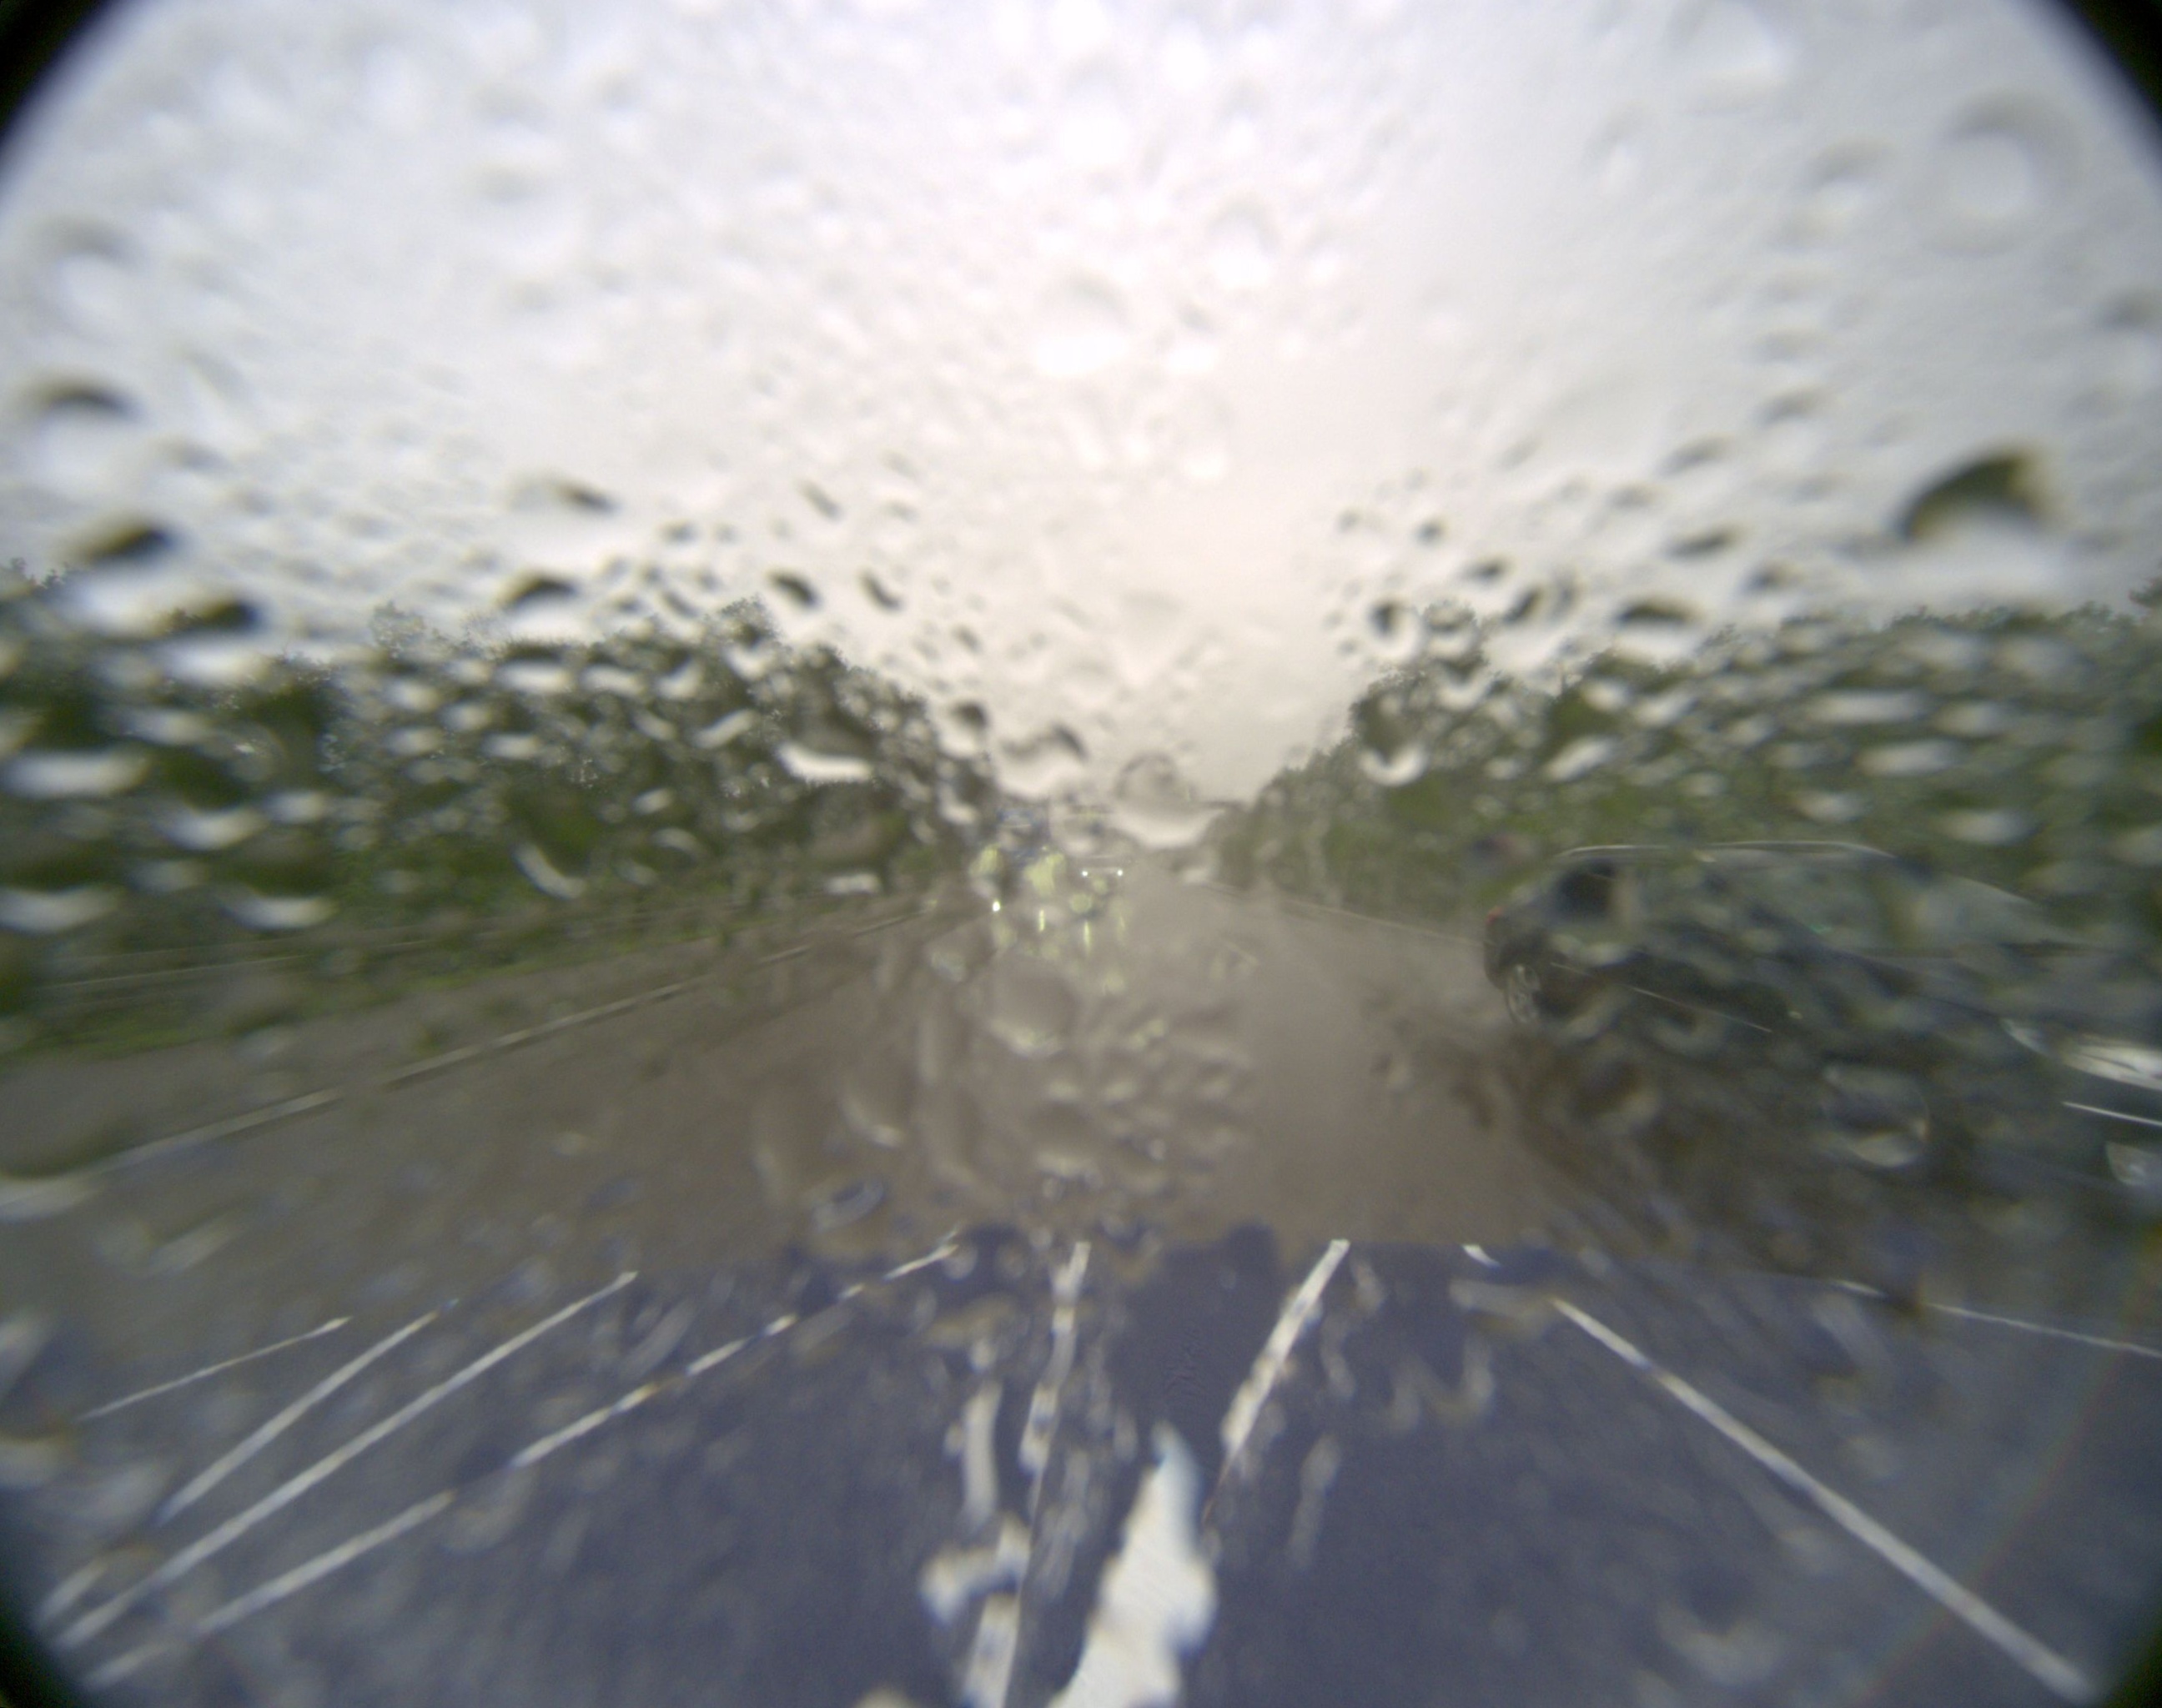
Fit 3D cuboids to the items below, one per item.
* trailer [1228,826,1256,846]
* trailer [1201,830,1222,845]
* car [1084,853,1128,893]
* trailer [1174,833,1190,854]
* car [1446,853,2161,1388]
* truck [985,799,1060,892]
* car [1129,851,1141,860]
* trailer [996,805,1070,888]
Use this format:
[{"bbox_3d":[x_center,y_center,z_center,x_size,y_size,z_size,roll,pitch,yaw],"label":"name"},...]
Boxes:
[{"bbox_3d":[20.310,-2.226,96.321,2.276,2.414,6.648,-2,1,2],"label":"trailer"},{"bbox_3d":[30.187,-3.781,176.540,3.436,3.364,11.549,-2,0,3],"label":"trailer"},{"bbox_3d":[1.100,0.784,32.861,1.751,1.545,4.091,-2,0,3],"label":"car"},{"bbox_3d":[28.074,-2.820,211.290,3.436,5.425,11.549,-2,0,3],"label":"trailer"},{"bbox_3d":[4.253,0.791,4.181,2.059,1.477,5.157,-2,1,1],"label":"car"},{"bbox_3d":[-2.705,-0.410,36.976,2.755,4.055,6.483,-2,1,2],"label":"truck"},{"bbox_3d":[9.937,0.271,140.516,1.900,1.533,4.090,-2,0,2],"label":"car"},{"bbox_3d":[-2.453,-0.435,44.363,2.750,3.941,14.129,-2,1,2],"label":"trailer"}]
